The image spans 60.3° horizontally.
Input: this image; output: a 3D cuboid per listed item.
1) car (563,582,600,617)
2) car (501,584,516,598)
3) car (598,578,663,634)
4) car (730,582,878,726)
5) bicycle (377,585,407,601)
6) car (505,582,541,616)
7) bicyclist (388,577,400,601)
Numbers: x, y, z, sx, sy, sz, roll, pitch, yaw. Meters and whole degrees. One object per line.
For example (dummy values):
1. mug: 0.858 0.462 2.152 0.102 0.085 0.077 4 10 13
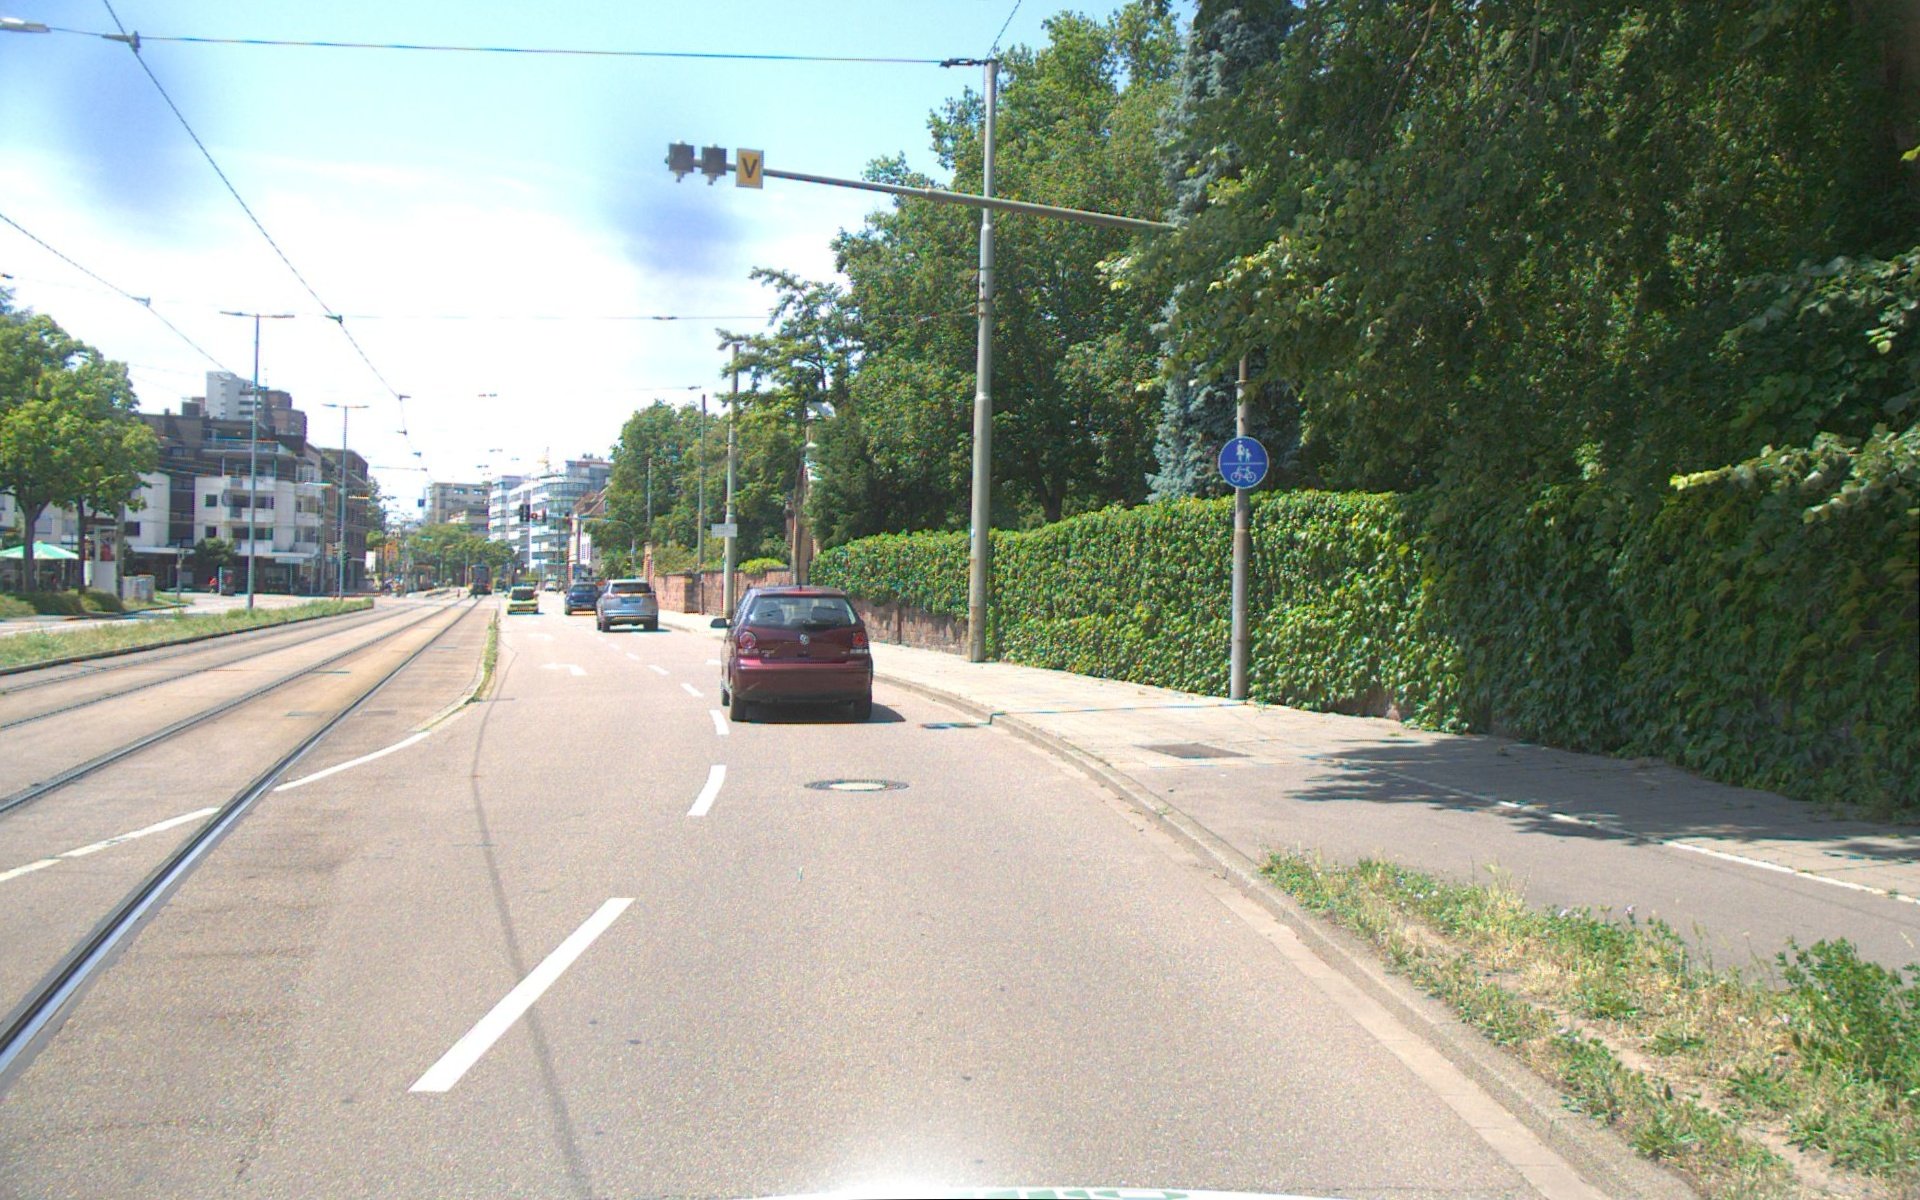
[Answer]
1. car: -19.401 -0.035 84.912 1.743 1.659 3.989 2 0 -12
2. car: -42.372 -0.829 155.238 1.331 1.274 2.960 2 0 -15
3. car: -10.816 0.163 54.123 1.766 1.712 3.984 2 0 -15
4. car: -1.927 0.556 19.660 1.579 1.524 3.993 0 1 -8
5. bicycle: -51.328 -0.662 149.505 2.482 1.444 0.631 0 0 -30
6. car: -23.583 -0.079 89.254 1.766 1.712 3.984 2 0 -15
7. bicyclist: -51.176 -1.002 149.592 0.945 2.128 0.845 0 0 -29
